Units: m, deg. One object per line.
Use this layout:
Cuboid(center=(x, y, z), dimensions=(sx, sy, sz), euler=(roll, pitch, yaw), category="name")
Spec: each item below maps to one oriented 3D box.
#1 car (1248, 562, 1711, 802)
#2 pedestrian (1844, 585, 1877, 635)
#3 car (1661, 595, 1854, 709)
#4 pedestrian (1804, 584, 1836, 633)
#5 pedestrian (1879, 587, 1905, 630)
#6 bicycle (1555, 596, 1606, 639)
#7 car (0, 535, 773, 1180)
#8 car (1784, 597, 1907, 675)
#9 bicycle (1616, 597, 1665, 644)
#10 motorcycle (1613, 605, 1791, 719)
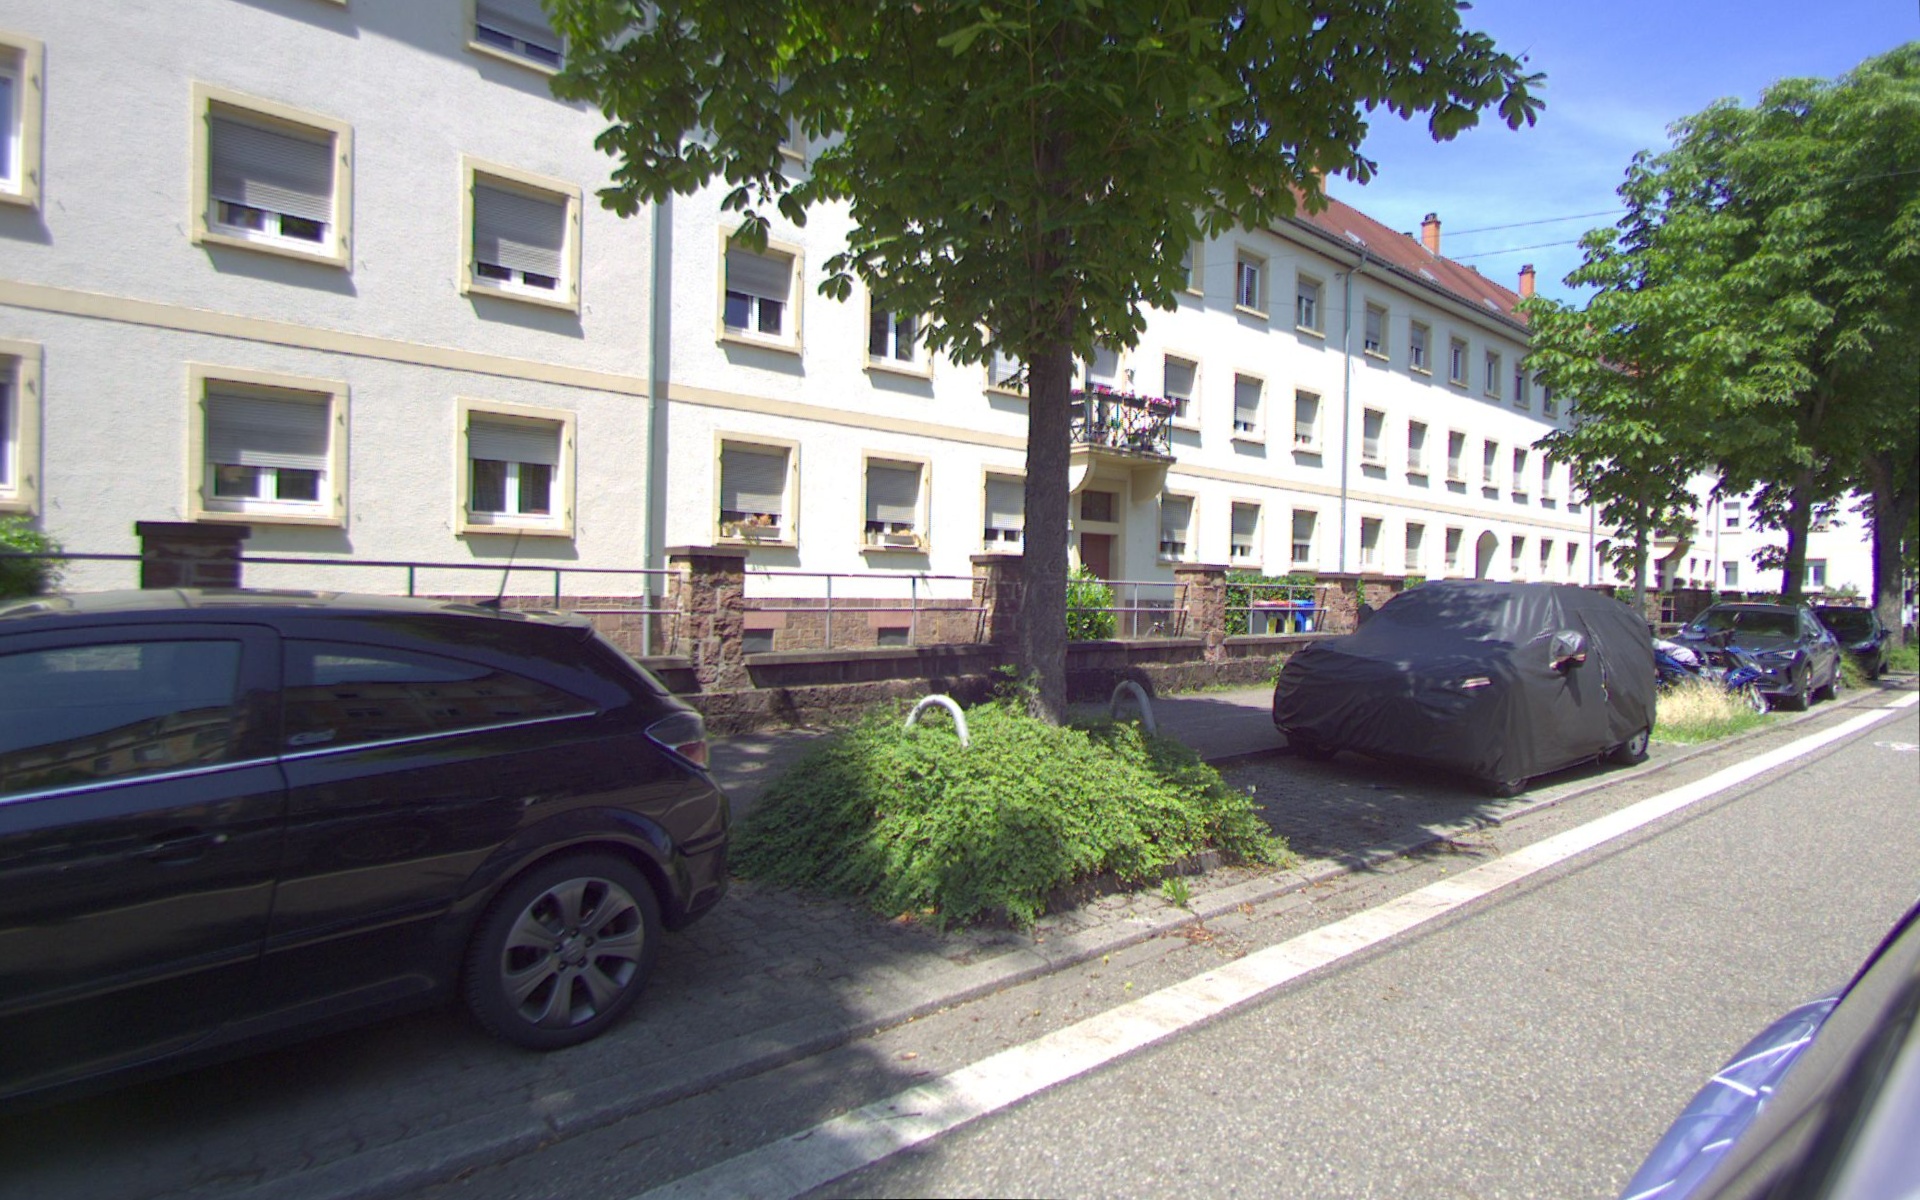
Cuboid(center=(4.935, 0.571, 9.304), dimensions=(4.790, 1.672, 1.952), euler=(0, 0, -38), category="car")
Cuboid(center=(31.389, 0.344, 35.277), dimensions=(0.854, 1.690, 0.698), euler=(0, 2, -41), category="pedestrian")
Cuboid(center=(12.739, 0.713, 16.067), dimensions=(4.378, 1.571, 1.735), euler=(0, 0, -43), category="car")
Cuboid(center=(30.487, 0.281, 35.874), dimensions=(0.743, 1.690, 0.699), euler=(0, 2, -41), category="pedestrian")
Cuboid(center=(37.110, 0.322, 40.295), dimensions=(0.743, 1.691, 0.698), euler=(0, -1, -42), category="pedestrian")
Cuboid(center=(17.637, 0.480, 28.742), dimensions=(1.934, 1.139, 0.598), euler=(0, 3, -40), category="bicycle")
Cuboid(center=(-2.804, 0.569, 2.797), dimensions=(4.283, 1.437, 1.696), euler=(0, 0, -43), category="car")
Cuboid(center=(19.248, 0.706, 21.951), dimensions=(3.933, 1.534, 1.658), euler=(0, 0, -44), category="car")
Cuboid(center=(18.500, 0.542, 27.500), dimensions=(1.935, 1.224, 0.598), euler=(0, 2, -41), category="bicycle")
Cuboid(center=(10.107, 0.796, 13.831), dimensions=(1.911, 1.451, 0.661), euler=(0, -1, 41), category="motorcycle")
